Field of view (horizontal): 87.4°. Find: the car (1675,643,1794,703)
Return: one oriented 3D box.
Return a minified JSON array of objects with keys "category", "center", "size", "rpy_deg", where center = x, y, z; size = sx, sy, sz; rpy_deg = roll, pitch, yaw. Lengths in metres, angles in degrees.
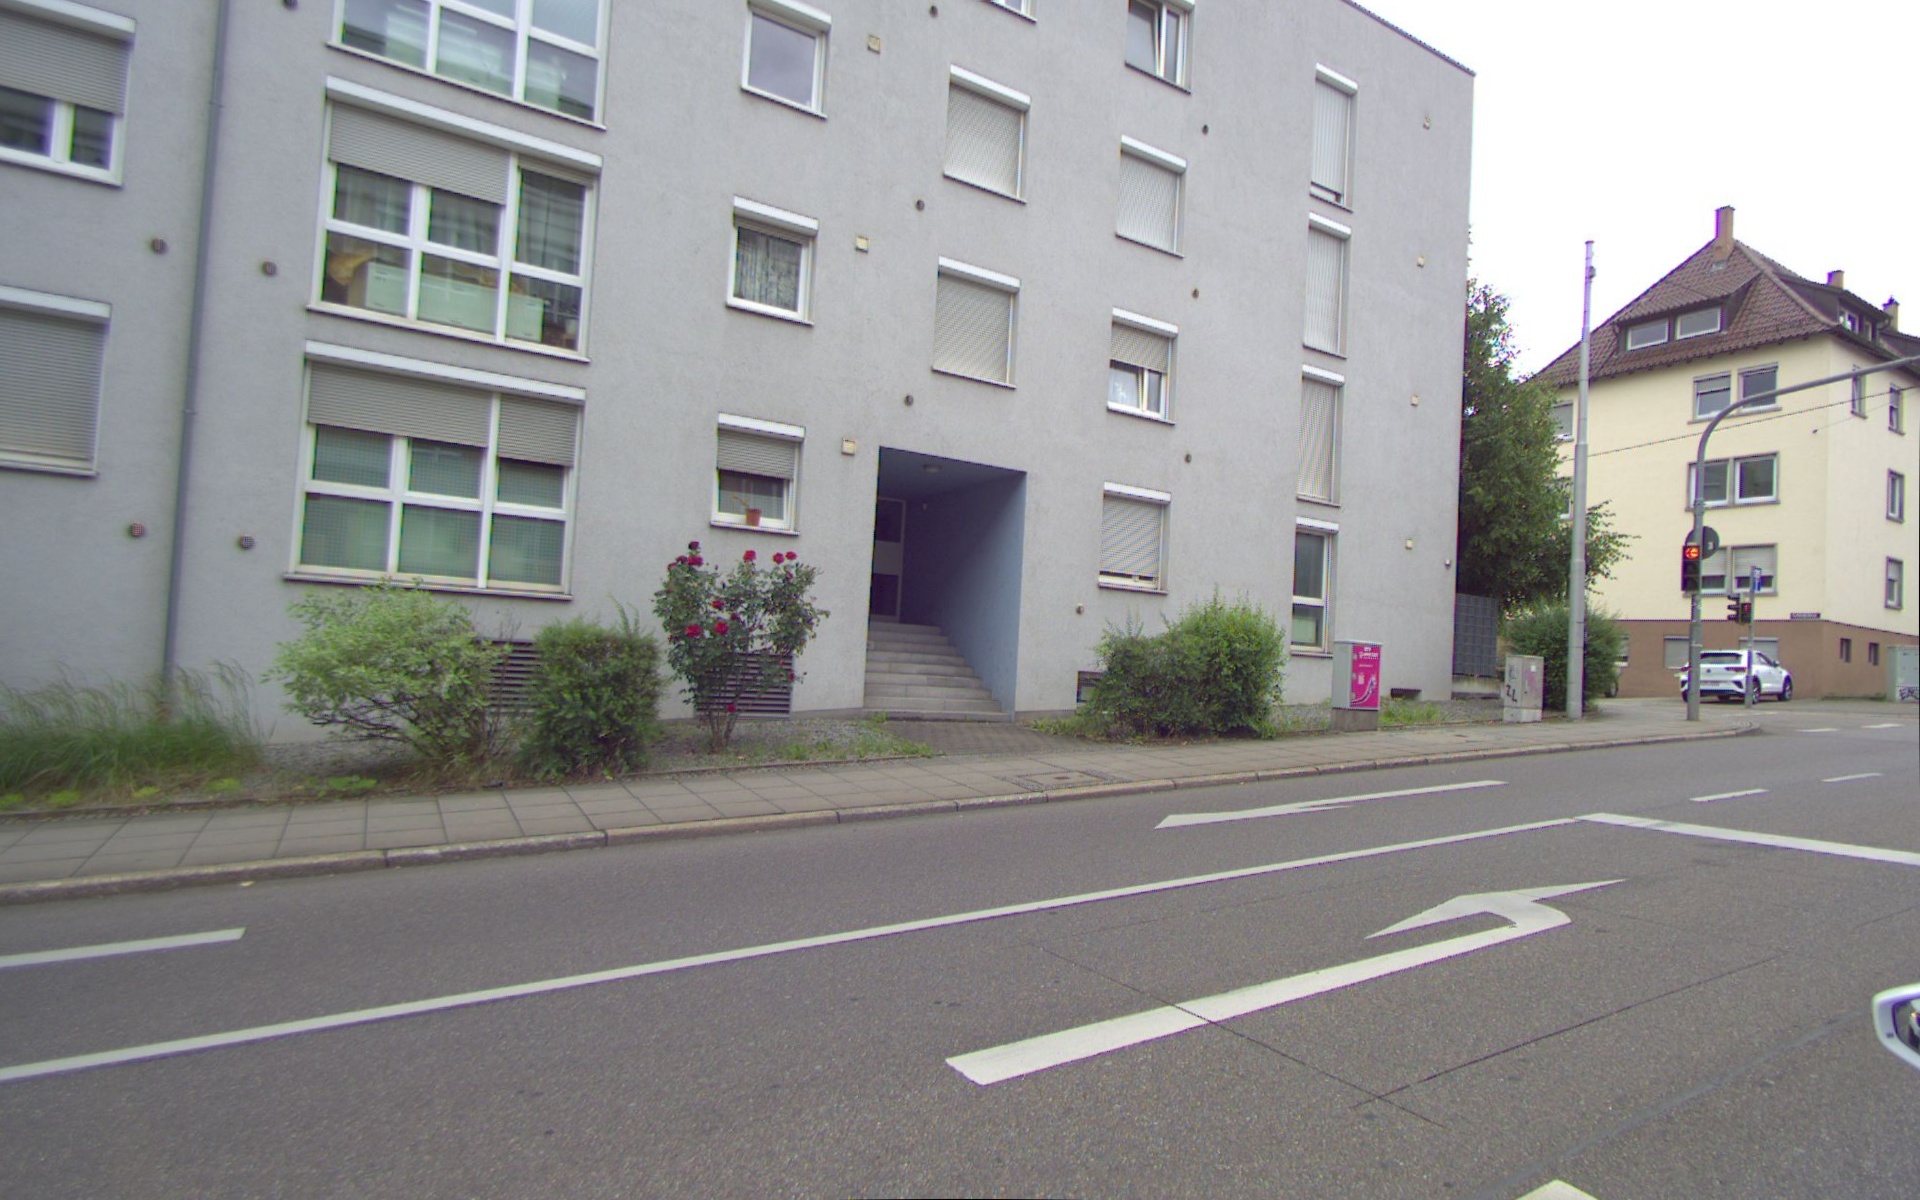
[{"category":"car","center":[23.238,2.153,30.101],"size":[3.960,1.683,1.660],"rpy_deg":[2,-4,-35]}]

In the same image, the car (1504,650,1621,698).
[{"category":"car","center":[20.650,2.504,34.409],"size":[4.053,1.566,1.662],"rpy_deg":[2,-4,-30]}]

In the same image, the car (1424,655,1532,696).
[{"category":"car","center":[18.980,2.732,36.780],"size":[3.953,1.380,1.662],"rpy_deg":[2,-1,-30]}]
